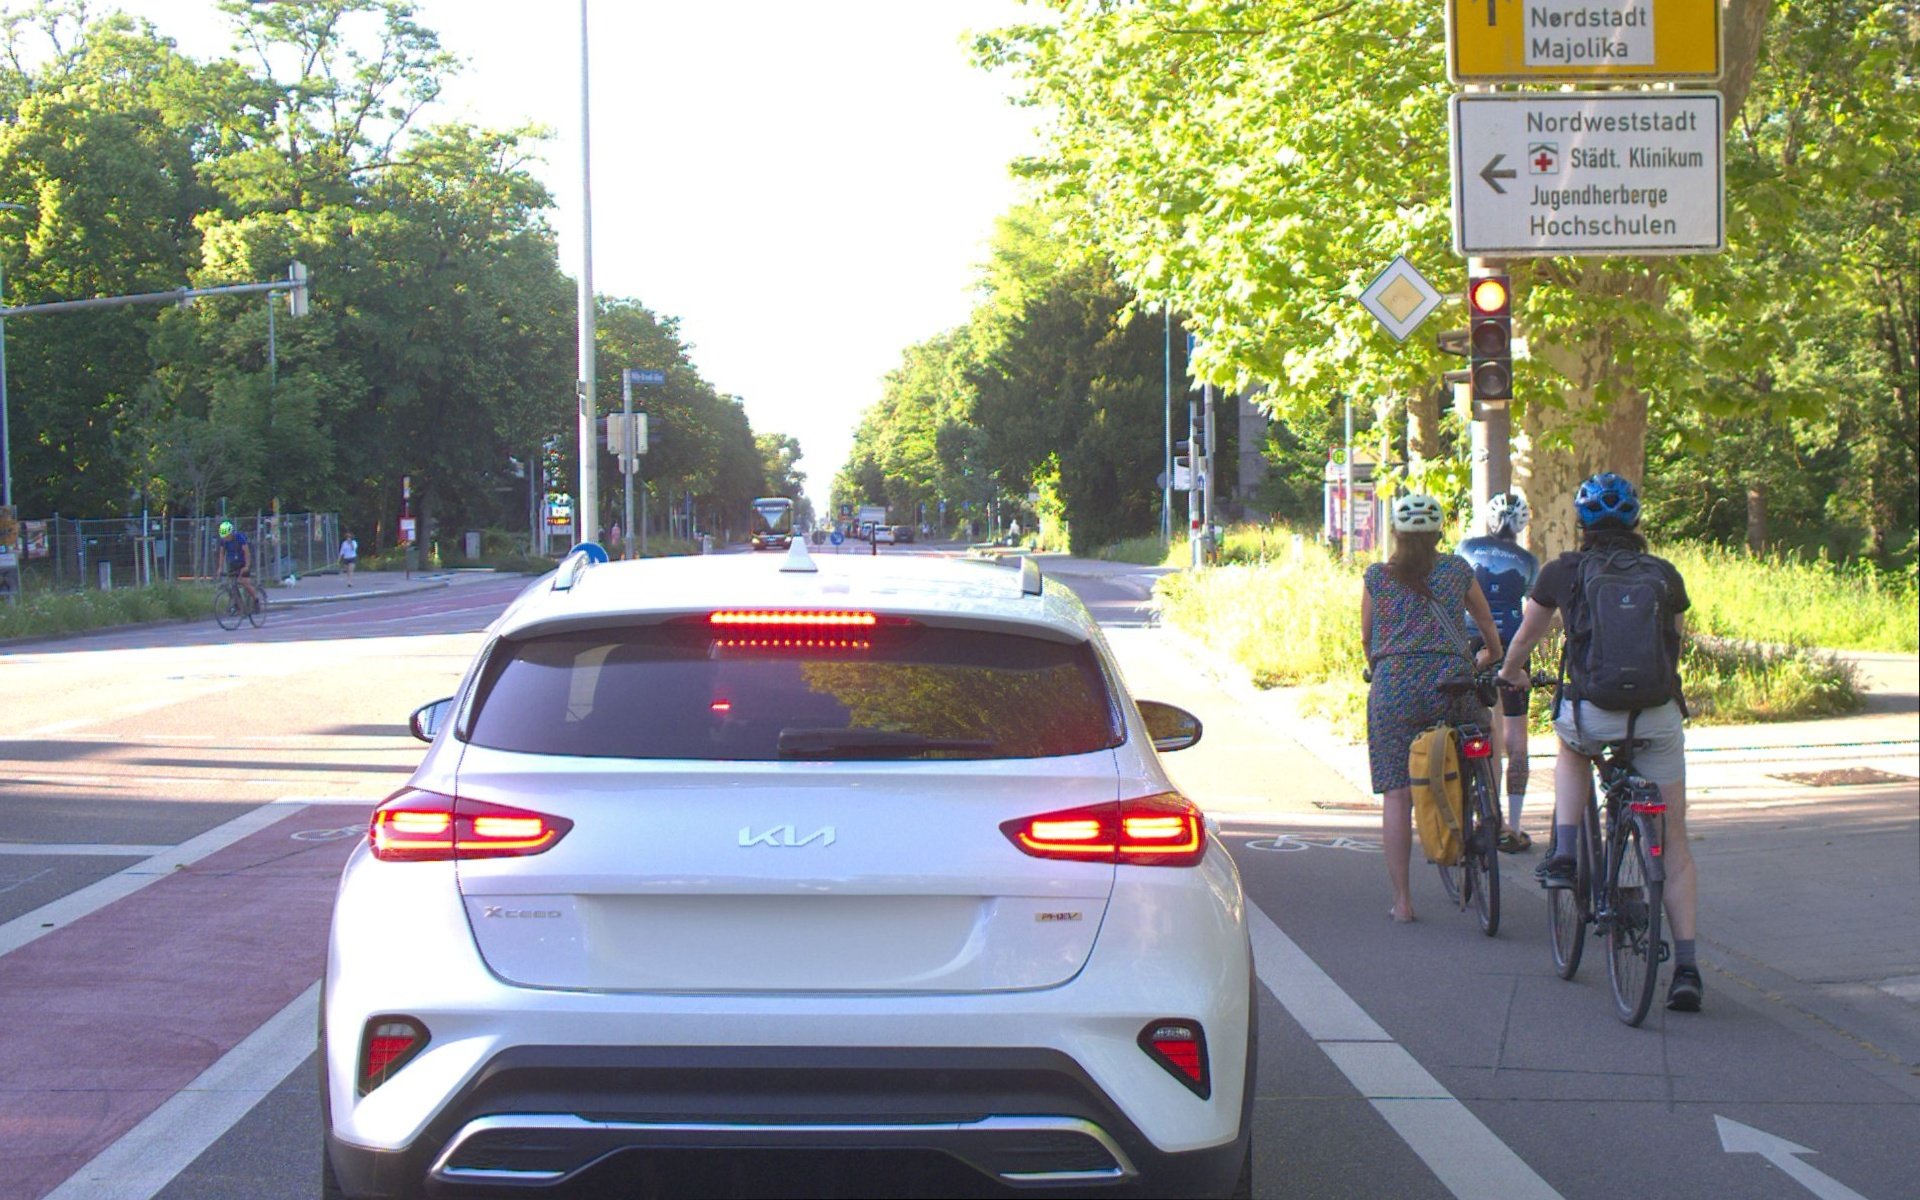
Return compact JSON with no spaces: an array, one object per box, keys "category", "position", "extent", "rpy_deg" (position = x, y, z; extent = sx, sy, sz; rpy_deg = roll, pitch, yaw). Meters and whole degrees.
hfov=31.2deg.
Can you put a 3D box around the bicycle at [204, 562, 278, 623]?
[{"category":"bicycle","position":[-12.475,-0.145,59.730],"extent":[0.663,0.985,2.504],"rpy_deg":[-1,1,2]}]

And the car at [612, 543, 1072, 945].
[{"category":"car","position":[-0.519,0.522,14.954],"extent":[1.728,1.478,3.517],"rpy_deg":[-1,1,-2]}]

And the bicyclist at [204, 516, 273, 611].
[{"category":"bicyclist","position":[-12.516,-0.640,59.681],"extent":[0.875,1.603,1.188],"rpy_deg":[-1,1,1]}]

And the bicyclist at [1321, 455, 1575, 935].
[{"category":"bicyclist","position":[1.894,0.344,13.490],"extent":[0.753,1.789,1.165],"rpy_deg":[1,1,-2]}]

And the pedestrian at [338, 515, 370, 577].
[{"category":"pedestrian","position":[-17.398,-1.553,98.699],"extent":[0.785,1.779,0.751],"rpy_deg":[0,1,0]}]

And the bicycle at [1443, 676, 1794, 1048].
[{"category":"bicycle","position":[2.105,0.803,11.267],"extent":[0.668,1.006,2.081],"rpy_deg":[1,1,-2]}]

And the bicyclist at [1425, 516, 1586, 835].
[{"category":"bicyclist","position":[2.627,0.353,16.601],"extent":[0.554,1.473,0.717],"rpy_deg":[-4,1,-2]}]

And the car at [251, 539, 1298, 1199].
[{"category":"car","position":[-0.386,0.613,7.968],"extent":[1.821,1.475,3.937],"rpy_deg":[0,1,-2]}]

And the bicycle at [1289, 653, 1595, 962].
[{"category":"bicycle","position":[1.876,0.773,13.780],"extent":[0.758,1.009,2.570],"rpy_deg":[1,1,-2]}]

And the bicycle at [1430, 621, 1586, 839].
[{"category":"bicycle","position":[2.640,0.605,16.674],"extent":[0.401,0.953,1.551],"rpy_deg":[-4,1,-2]}]

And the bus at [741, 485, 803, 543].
[{"category":"bus","position":[-12.439,-5.636,226.401],"extent":[3.741,3.660,13.243],"rpy_deg":[-1,1,-4]}]

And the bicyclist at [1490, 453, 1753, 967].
[{"category":"bicyclist","position":[2.119,0.336,11.085],"extent":[0.665,1.596,0.721],"rpy_deg":[1,1,-2]}]
